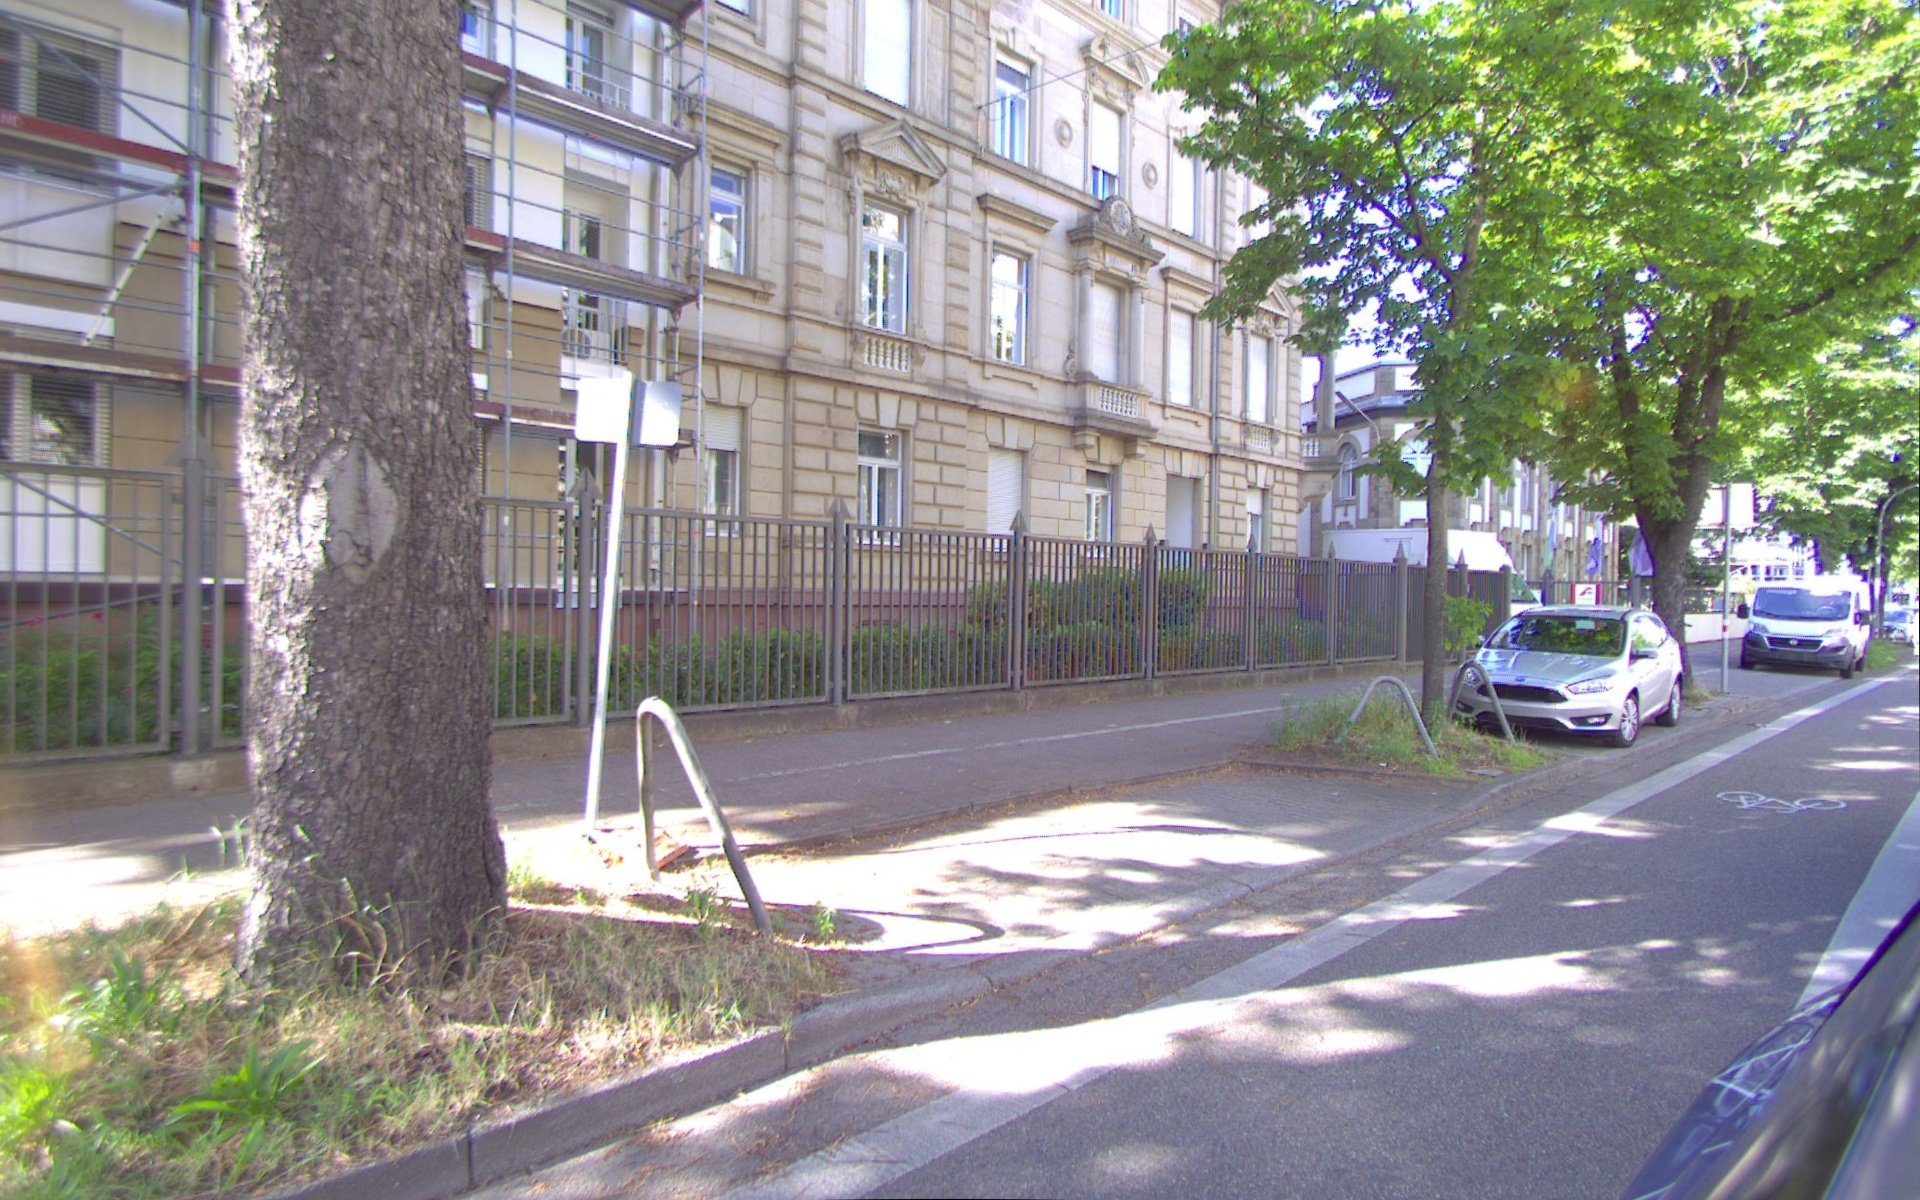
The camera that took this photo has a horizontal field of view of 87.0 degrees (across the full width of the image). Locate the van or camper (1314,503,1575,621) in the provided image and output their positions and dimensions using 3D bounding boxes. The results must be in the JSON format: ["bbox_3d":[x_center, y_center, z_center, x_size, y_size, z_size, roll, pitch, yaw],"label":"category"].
[{"bbox_3d":[12.249,-0.890,26.374,2.078,2.660,6.751,0,0,-17],"label":"van or camper"}]

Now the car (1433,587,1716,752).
[{"bbox_3d":[7.529,0.666,12.215,4.294,1.562,1.874,-1,3,-44],"label":"car"}]

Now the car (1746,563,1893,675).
[{"bbox_3d":[20.957,0.352,24.577,5.710,2.371,2.129,-1,3,-44],"label":"car"}]

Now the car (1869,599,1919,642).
[{"bbox_3d":[37.432,0.777,40.079,4.035,1.569,1.863,-1,1,-44],"label":"car"}]
